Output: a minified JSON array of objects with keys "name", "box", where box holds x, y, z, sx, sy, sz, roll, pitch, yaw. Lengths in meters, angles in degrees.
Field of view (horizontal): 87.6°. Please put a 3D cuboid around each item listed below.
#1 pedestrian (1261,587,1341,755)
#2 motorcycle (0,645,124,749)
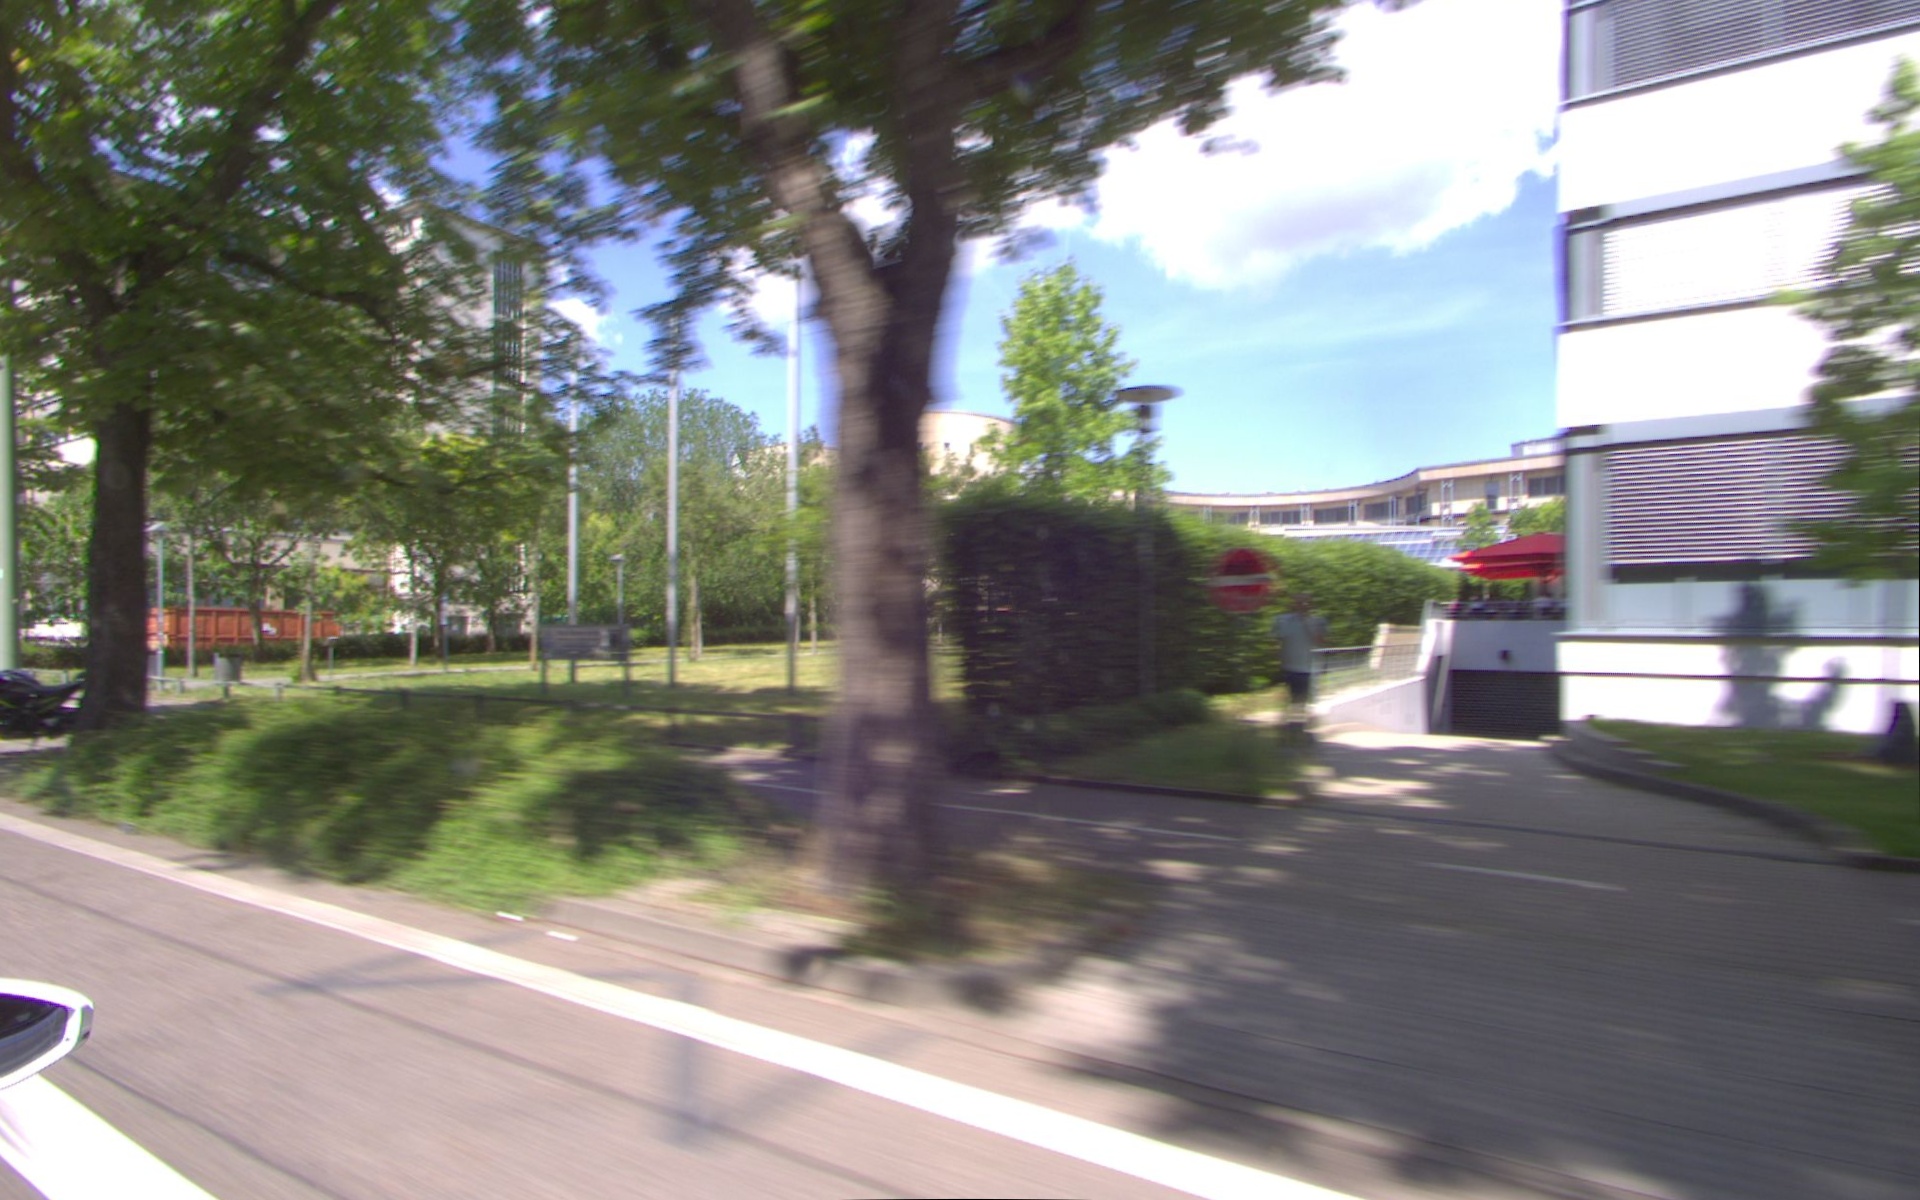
[{"name":"pedestrian","box":[3.731,0.759,10.991,0.616,1.771,0.657,-1,0,-4]},{"name":"motorcycle","box":[-11.604,1.175,12.241,2.026,1.228,0.612,0,-2,-19]}]
